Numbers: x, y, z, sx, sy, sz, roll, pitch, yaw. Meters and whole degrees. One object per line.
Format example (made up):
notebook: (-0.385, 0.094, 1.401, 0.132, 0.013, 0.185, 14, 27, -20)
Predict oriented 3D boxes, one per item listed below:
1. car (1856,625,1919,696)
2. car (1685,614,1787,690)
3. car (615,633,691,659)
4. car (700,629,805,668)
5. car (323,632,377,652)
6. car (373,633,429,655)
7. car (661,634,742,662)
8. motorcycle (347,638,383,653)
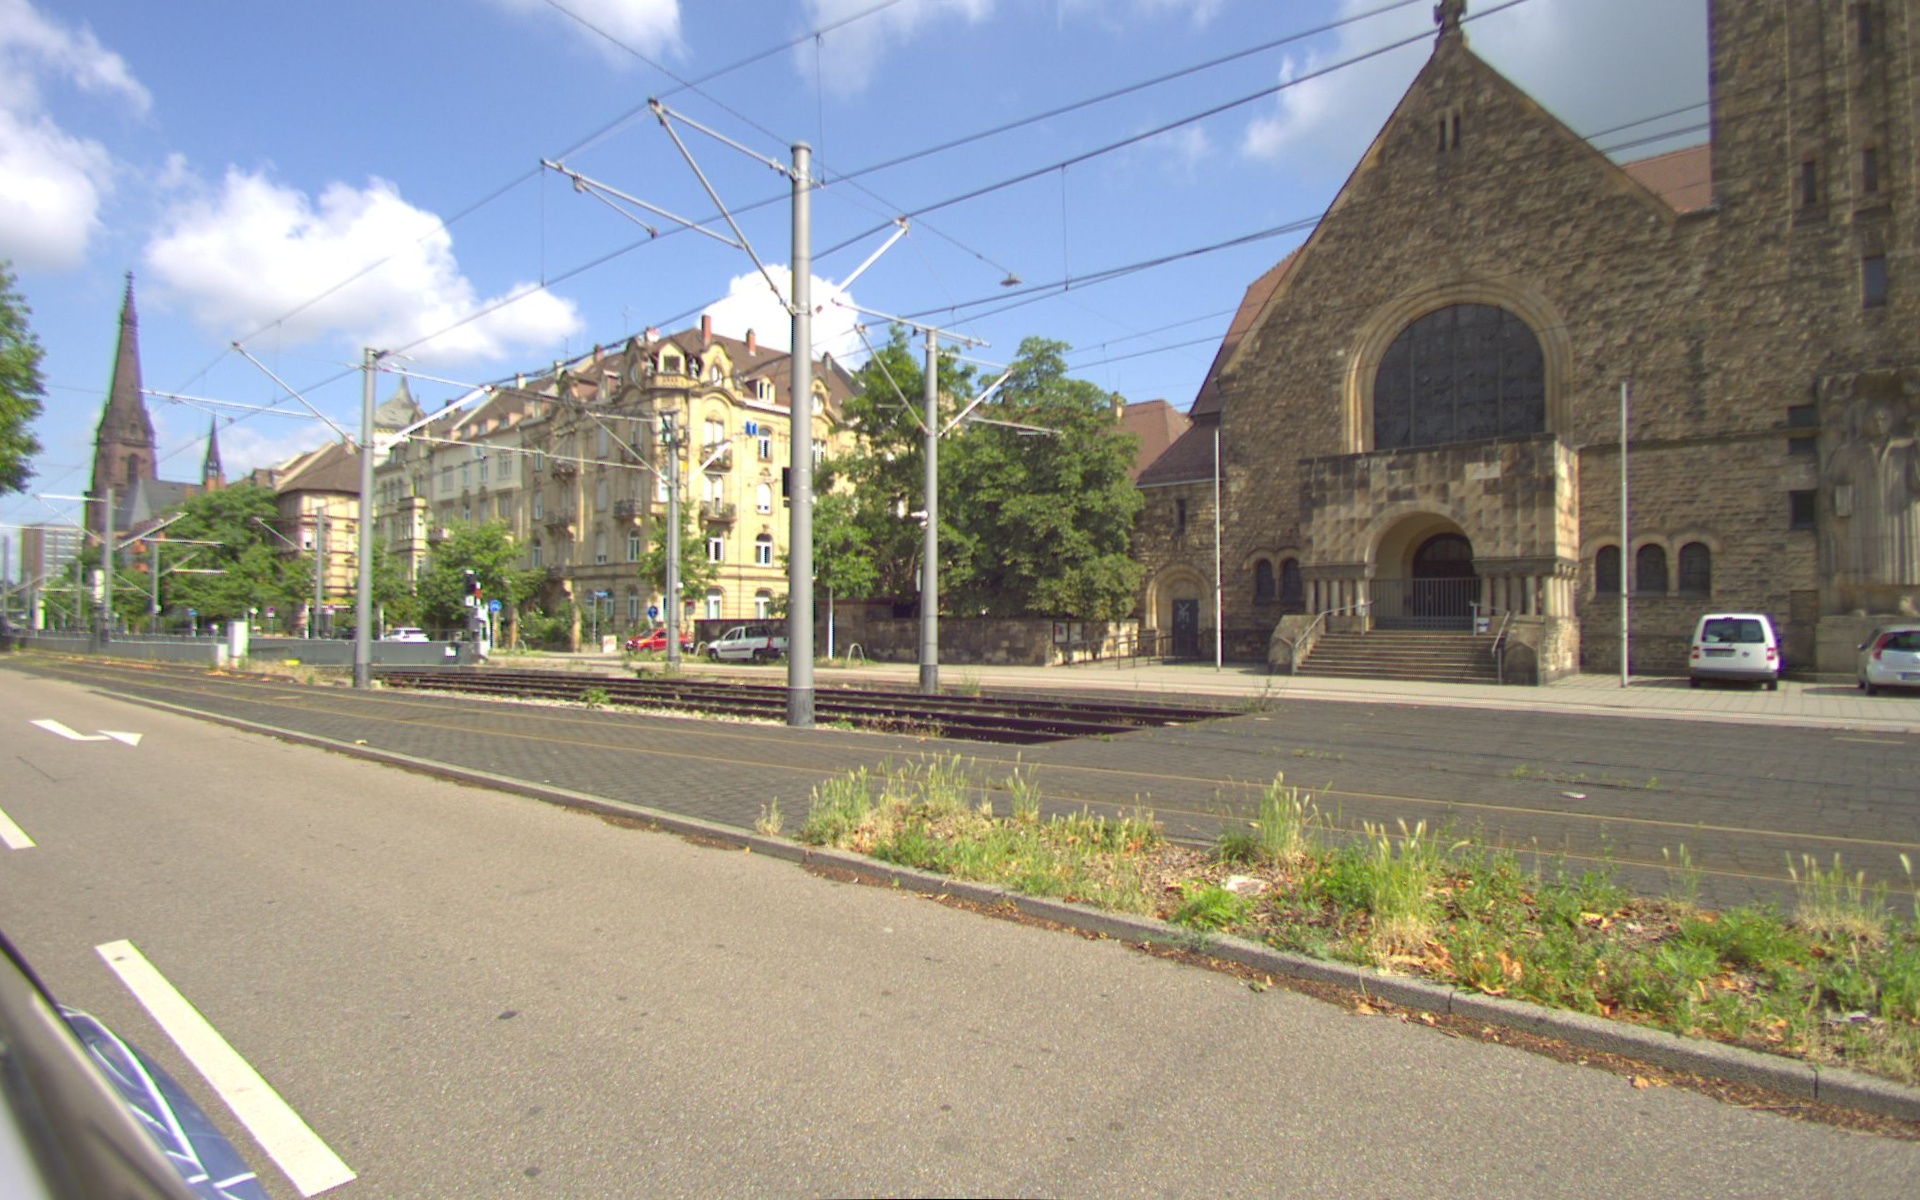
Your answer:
car: (21.540, 1.338, 22.814, 1.853, 1.514, 3.232, -2, -3, 39)
car: (19.577, 1.270, 25.563, 1.892, 1.762, 3.832, -2, -3, 38)
car: (-17.702, 2.627, 58.405, 1.933, 1.475, 3.738, -2, -3, 44)
car: (-8.559, 1.980, 41.591, 4.410, 1.516, 1.911, -2, -3, 39)
car: (-43.070, 2.962, 71.448, 4.096, 1.337, 2.000, -2, -3, 39)
car: (-36.274, 2.842, 65.644, 4.308, 1.338, 1.734, -2, -3, 39)
car: (-13.801, 2.550, 54.159, 1.723, 1.475, 3.921, -2, -3, 41)
motorcycle: (-40.855, 3.111, 69.537, 1.416, 0.949, 1.742, -2, -4, 40)
